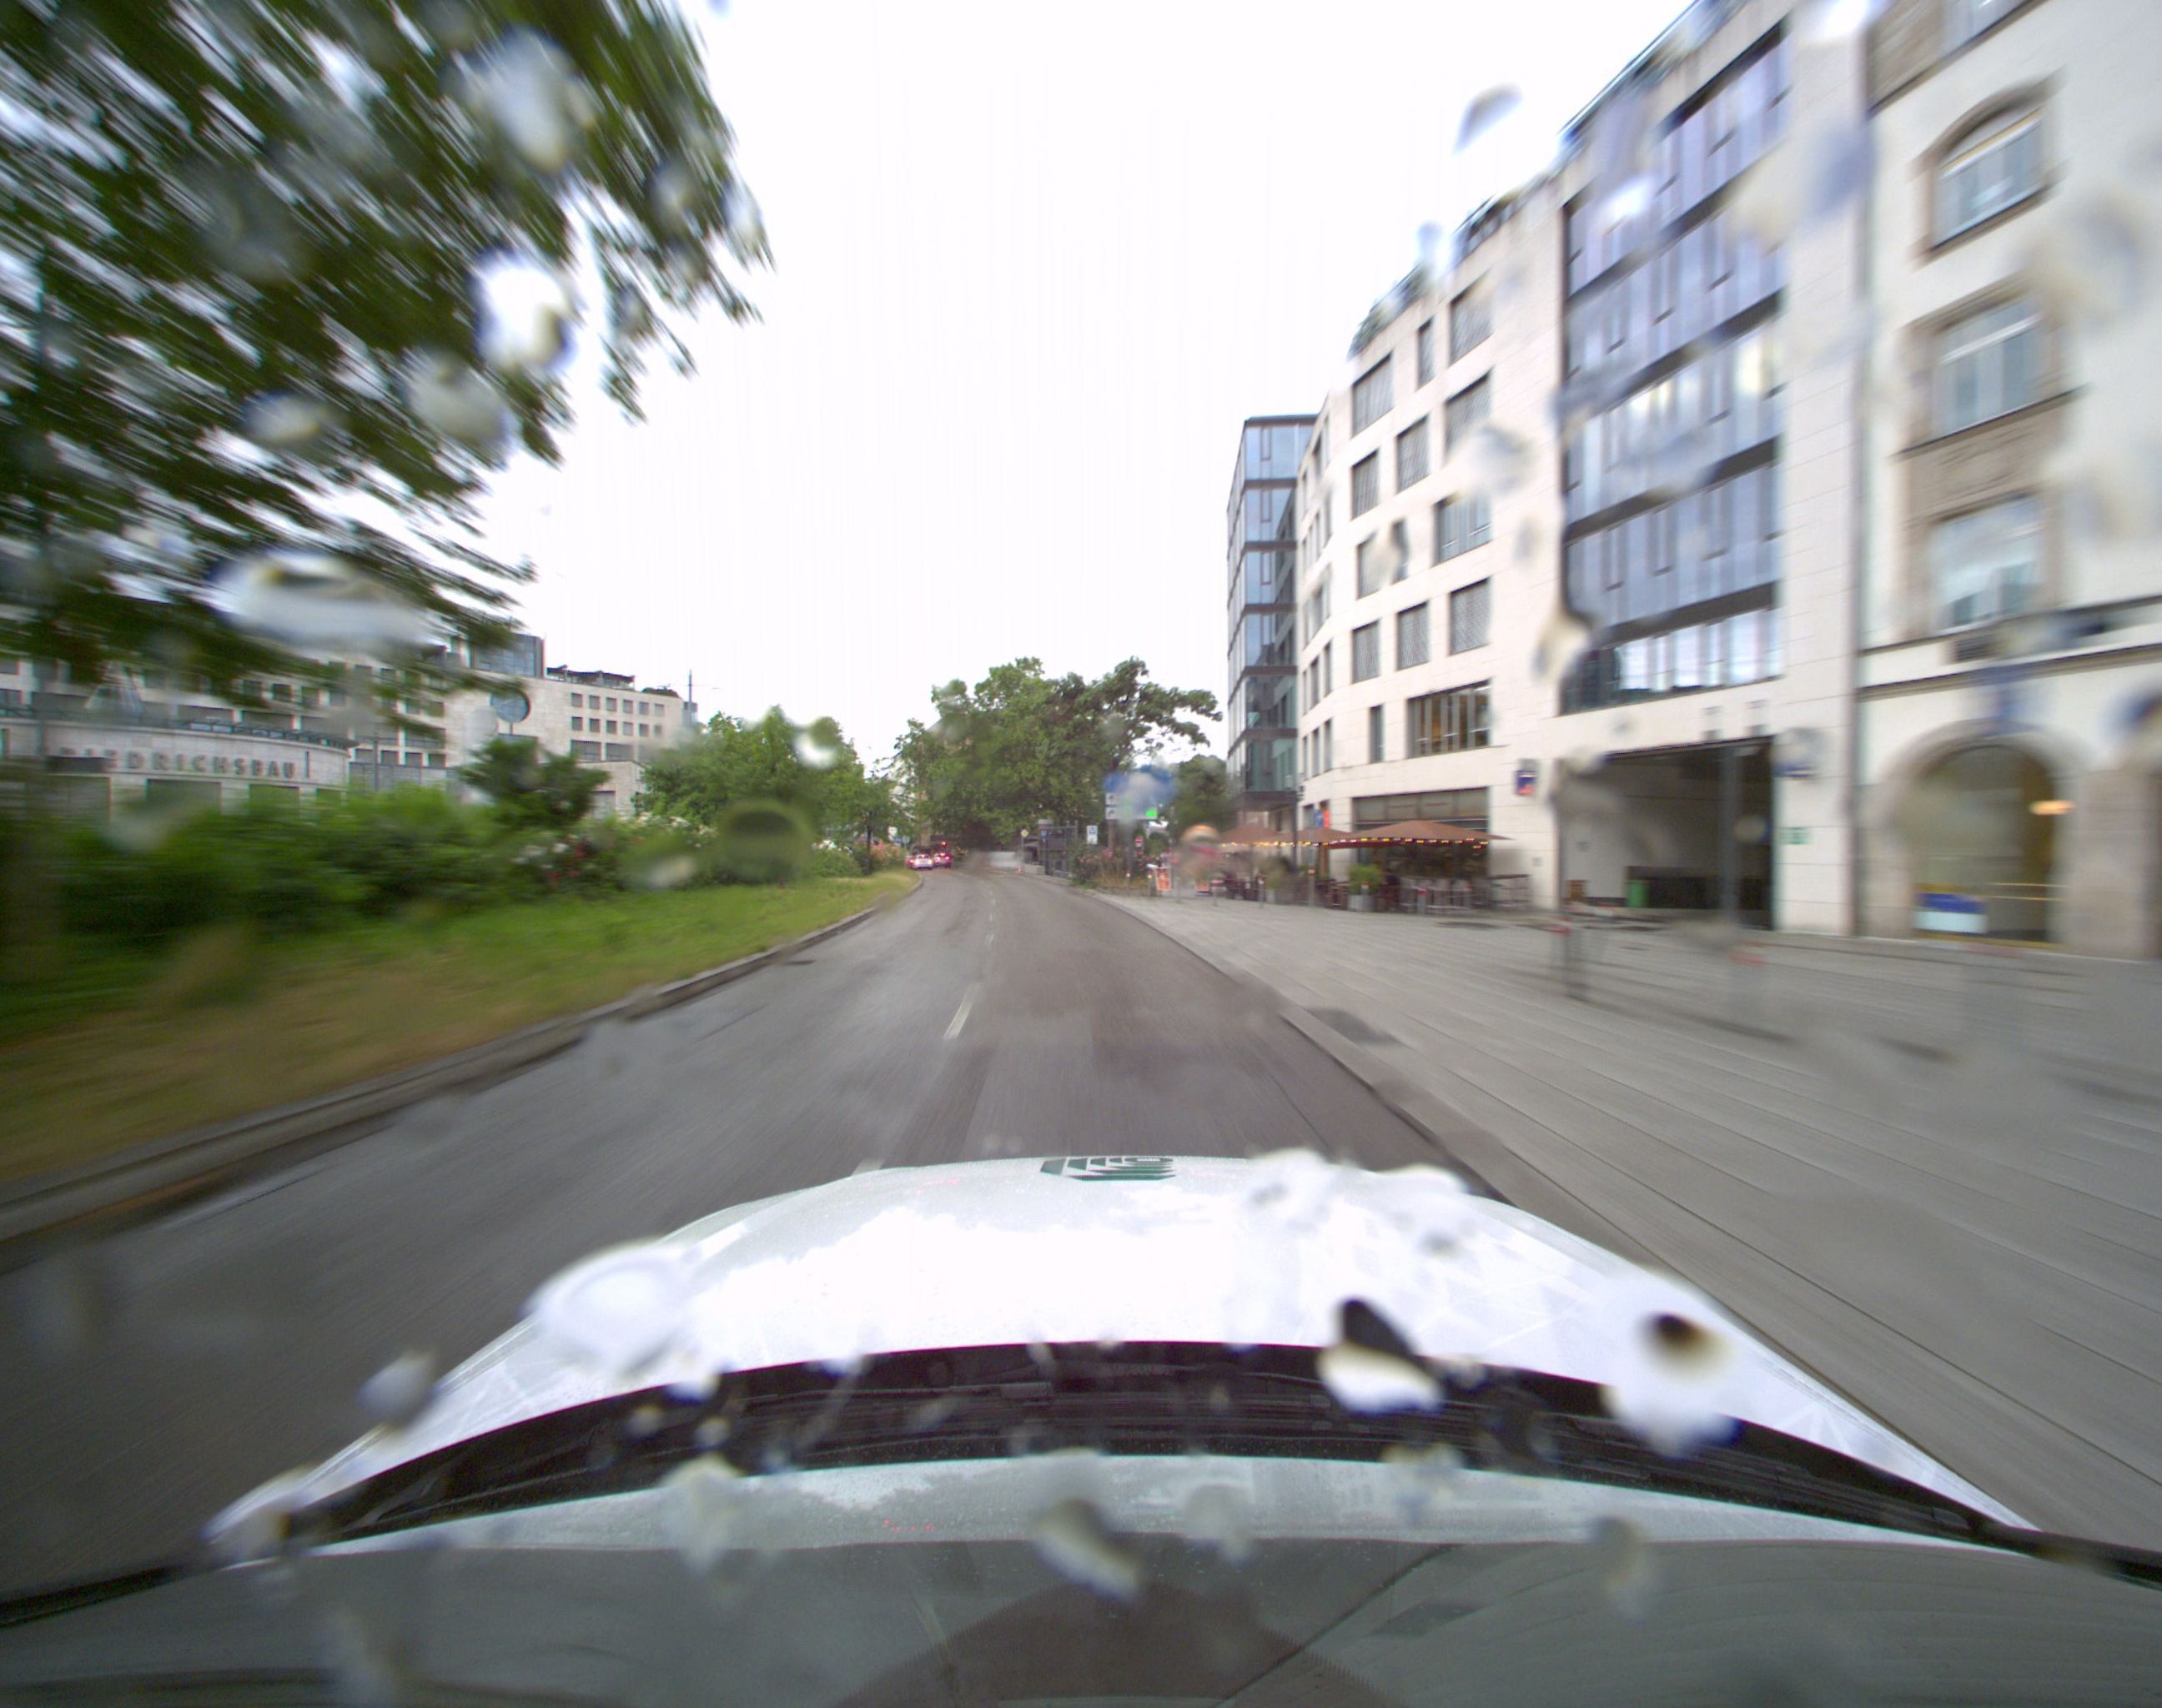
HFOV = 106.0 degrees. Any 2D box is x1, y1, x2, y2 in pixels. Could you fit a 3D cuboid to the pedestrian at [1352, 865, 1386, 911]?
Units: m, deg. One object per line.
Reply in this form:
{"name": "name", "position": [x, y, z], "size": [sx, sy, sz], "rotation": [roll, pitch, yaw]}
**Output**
{"name": "pedestrian", "position": [8.637, 1.015, 24.406], "size": [0.771, 1.326, 0.636], "rotation": [2, -1, 2]}

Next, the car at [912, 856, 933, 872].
{"name": "car", "position": [-15.521, 1.003, 79.642], "size": [1.594, 1.491, 3.485], "rotation": [-2, 0, -17]}

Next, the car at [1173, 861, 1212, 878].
{"name": "car", "position": [10.414, 1.447, 76.387], "size": [1.621, 1.416, 3.489], "rotation": [2, -1, -37]}

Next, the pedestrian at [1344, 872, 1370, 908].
{"name": "pedestrian", "position": [10.390, 1.342, 30.673], "size": [0.628, 1.326, 0.632], "rotation": [2, -1, -18]}

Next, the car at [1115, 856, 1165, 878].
{"name": "car", "position": [4.962, 1.110, 69.280], "size": [4.081, 1.621, 1.863], "rotation": [3, -1, 1]}

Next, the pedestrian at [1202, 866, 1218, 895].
{"name": "pedestrian", "position": [6.055, 1.246, 38.246], "size": [0.603, 1.326, 0.568], "rotation": [2, -1, 2]}

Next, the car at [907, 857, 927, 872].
{"name": "car", "position": [-17.377, 1.136, 86.034], "size": [1.695, 1.463, 4.106], "rotation": [-2, 0, -17]}

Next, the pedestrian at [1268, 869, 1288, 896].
{"name": "pedestrian", "position": [9.811, 1.408, 40.573], "size": [0.814, 1.326, 0.636], "rotation": [2, -1, 2]}

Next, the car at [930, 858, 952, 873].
{"name": "car", "position": [-15.877, 1.331, 92.097], "size": [1.951, 1.666, 4.320], "rotation": [0, -1, -17]}

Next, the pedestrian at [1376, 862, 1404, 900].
{"name": "pedestrian", "position": [10.882, 0.949, 28.723], "size": [0.628, 1.326, 0.632], "rotation": [2, -1, -18]}

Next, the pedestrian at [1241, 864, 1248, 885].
{"name": "pedestrian", "position": [10.760, 1.351, 53.633], "size": [0.432, 1.403, 0.479], "rotation": [-1, -1, 5]}

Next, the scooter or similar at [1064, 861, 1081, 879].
{"name": "scooter or similar", "position": [-0.596, 1.102, 55.278], "size": [1.114, 1.237, 0.363], "rotation": [1, 0, -12]}

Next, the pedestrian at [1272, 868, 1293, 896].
{"name": "pedestrian", "position": [9.844, 1.350, 39.774], "size": [0.814, 1.326, 0.636], "rotation": [2, -1, 2]}

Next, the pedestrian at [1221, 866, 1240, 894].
{"name": "pedestrian", "position": [7.311, 1.277, 39.823], "size": [0.814, 1.326, 0.636], "rotation": [2, -1, 2]}

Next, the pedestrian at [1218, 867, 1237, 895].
{"name": "pedestrian", "position": [7.328, 1.335, 40.711], "size": [0.814, 1.326, 0.636], "rotation": [2, -1, 2]}

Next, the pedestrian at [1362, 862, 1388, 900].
{"name": "pedestrian", "position": [10.671, 0.965, 29.560], "size": [0.628, 1.326, 0.632], "rotation": [2, -1, -18]}

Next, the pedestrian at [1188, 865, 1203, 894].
{"name": "pedestrian", "position": [5.386, 1.214, 38.253], "size": [0.603, 1.326, 0.568], "rotation": [2, -1, 2]}

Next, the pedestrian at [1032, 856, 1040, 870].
{"name": "pedestrian", "position": [-4.642, 0.969, 83.826], "size": [0.685, 1.410, 0.901], "rotation": [2, -2, -12]}

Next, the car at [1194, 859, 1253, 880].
{"name": "car", "position": [11.966, 1.282, 68.642], "size": [4.711, 1.691, 2.008], "rotation": [1, 0, 6]}

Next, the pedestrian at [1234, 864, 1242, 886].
{"name": "pedestrian", "position": [10.273, 1.352, 53.280], "size": [0.432, 1.403, 0.479], "rotation": [-1, -1, 5]}

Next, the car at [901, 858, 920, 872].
{"name": "car", "position": [-19.290, 1.262, 92.286], "size": [1.695, 1.463, 4.320], "rotation": [-2, 0, -17]}
